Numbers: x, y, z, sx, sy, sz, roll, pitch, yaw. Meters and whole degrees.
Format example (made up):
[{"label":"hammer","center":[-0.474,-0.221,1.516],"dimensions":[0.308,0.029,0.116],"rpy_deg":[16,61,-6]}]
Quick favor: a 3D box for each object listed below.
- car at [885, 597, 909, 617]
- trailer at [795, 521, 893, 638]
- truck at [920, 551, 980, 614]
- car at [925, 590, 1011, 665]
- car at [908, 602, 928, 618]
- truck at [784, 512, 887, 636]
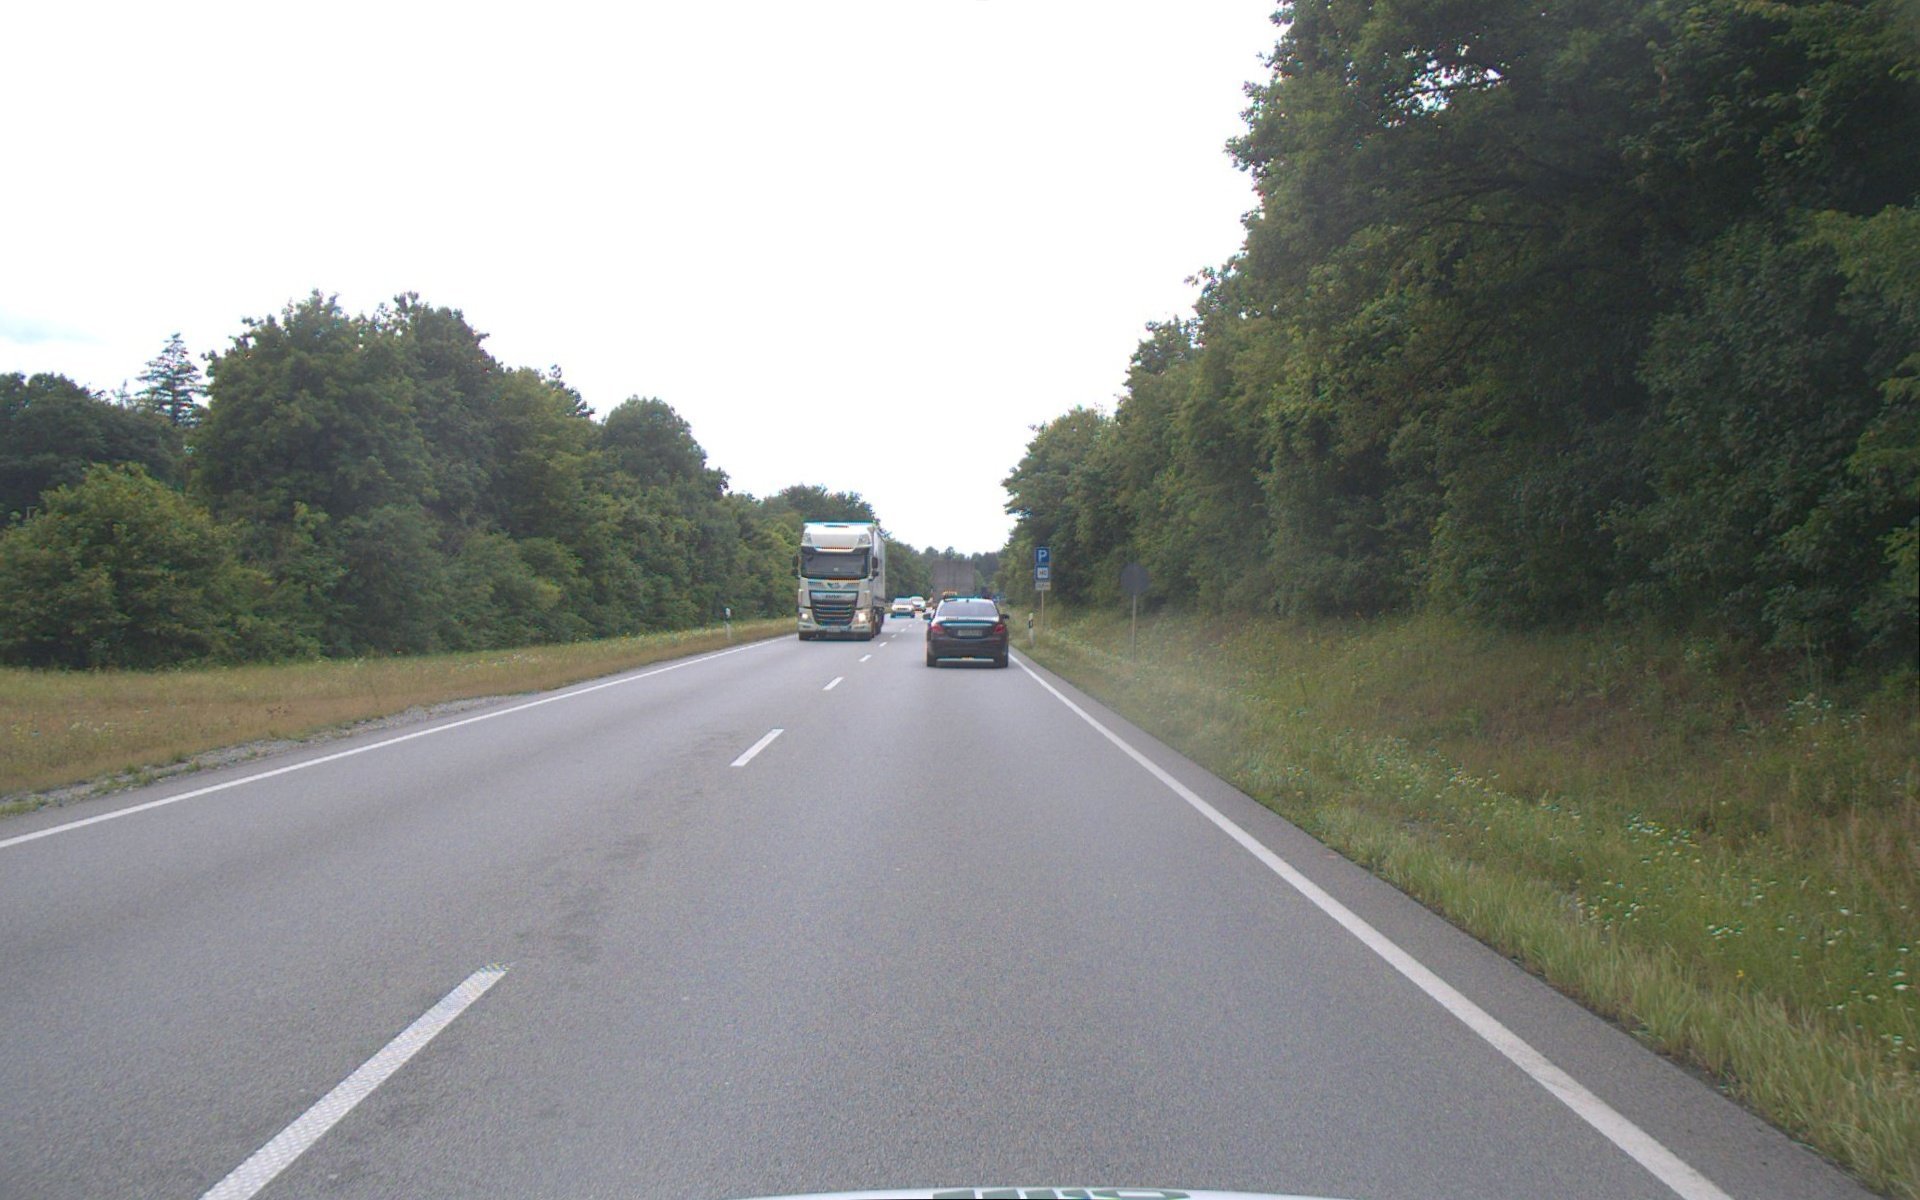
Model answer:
[{"label":"car","center":[-4.707,0.515,123.866],"dimensions":[1.690,1.459,4.502],"rpy_deg":[1,0,-1]},{"label":"trailer","center":[-4.463,-0.711,66.461],"dimensions":[3.138,4.138,14.268],"rpy_deg":[1,0,-1]},{"label":"truck","center":[-0.497,-0.992,103.428],"dimensions":[3.213,3.675,11.402],"rpy_deg":[1,0,2]},{"label":"car","center":[0.134,0.594,37.186],"dimensions":[1.755,1.579,3.998],"rpy_deg":[1,0,-2]},{"label":"car","center":[-4.296,1.008,169.268],"dimensions":[1.924,1.601,5.451],"rpy_deg":[1,0,0]},{"label":"truck","center":[-4.412,-0.859,60.761],"dimensions":[3.125,4.133,9.574],"rpy_deg":[1,0,-1]}]
